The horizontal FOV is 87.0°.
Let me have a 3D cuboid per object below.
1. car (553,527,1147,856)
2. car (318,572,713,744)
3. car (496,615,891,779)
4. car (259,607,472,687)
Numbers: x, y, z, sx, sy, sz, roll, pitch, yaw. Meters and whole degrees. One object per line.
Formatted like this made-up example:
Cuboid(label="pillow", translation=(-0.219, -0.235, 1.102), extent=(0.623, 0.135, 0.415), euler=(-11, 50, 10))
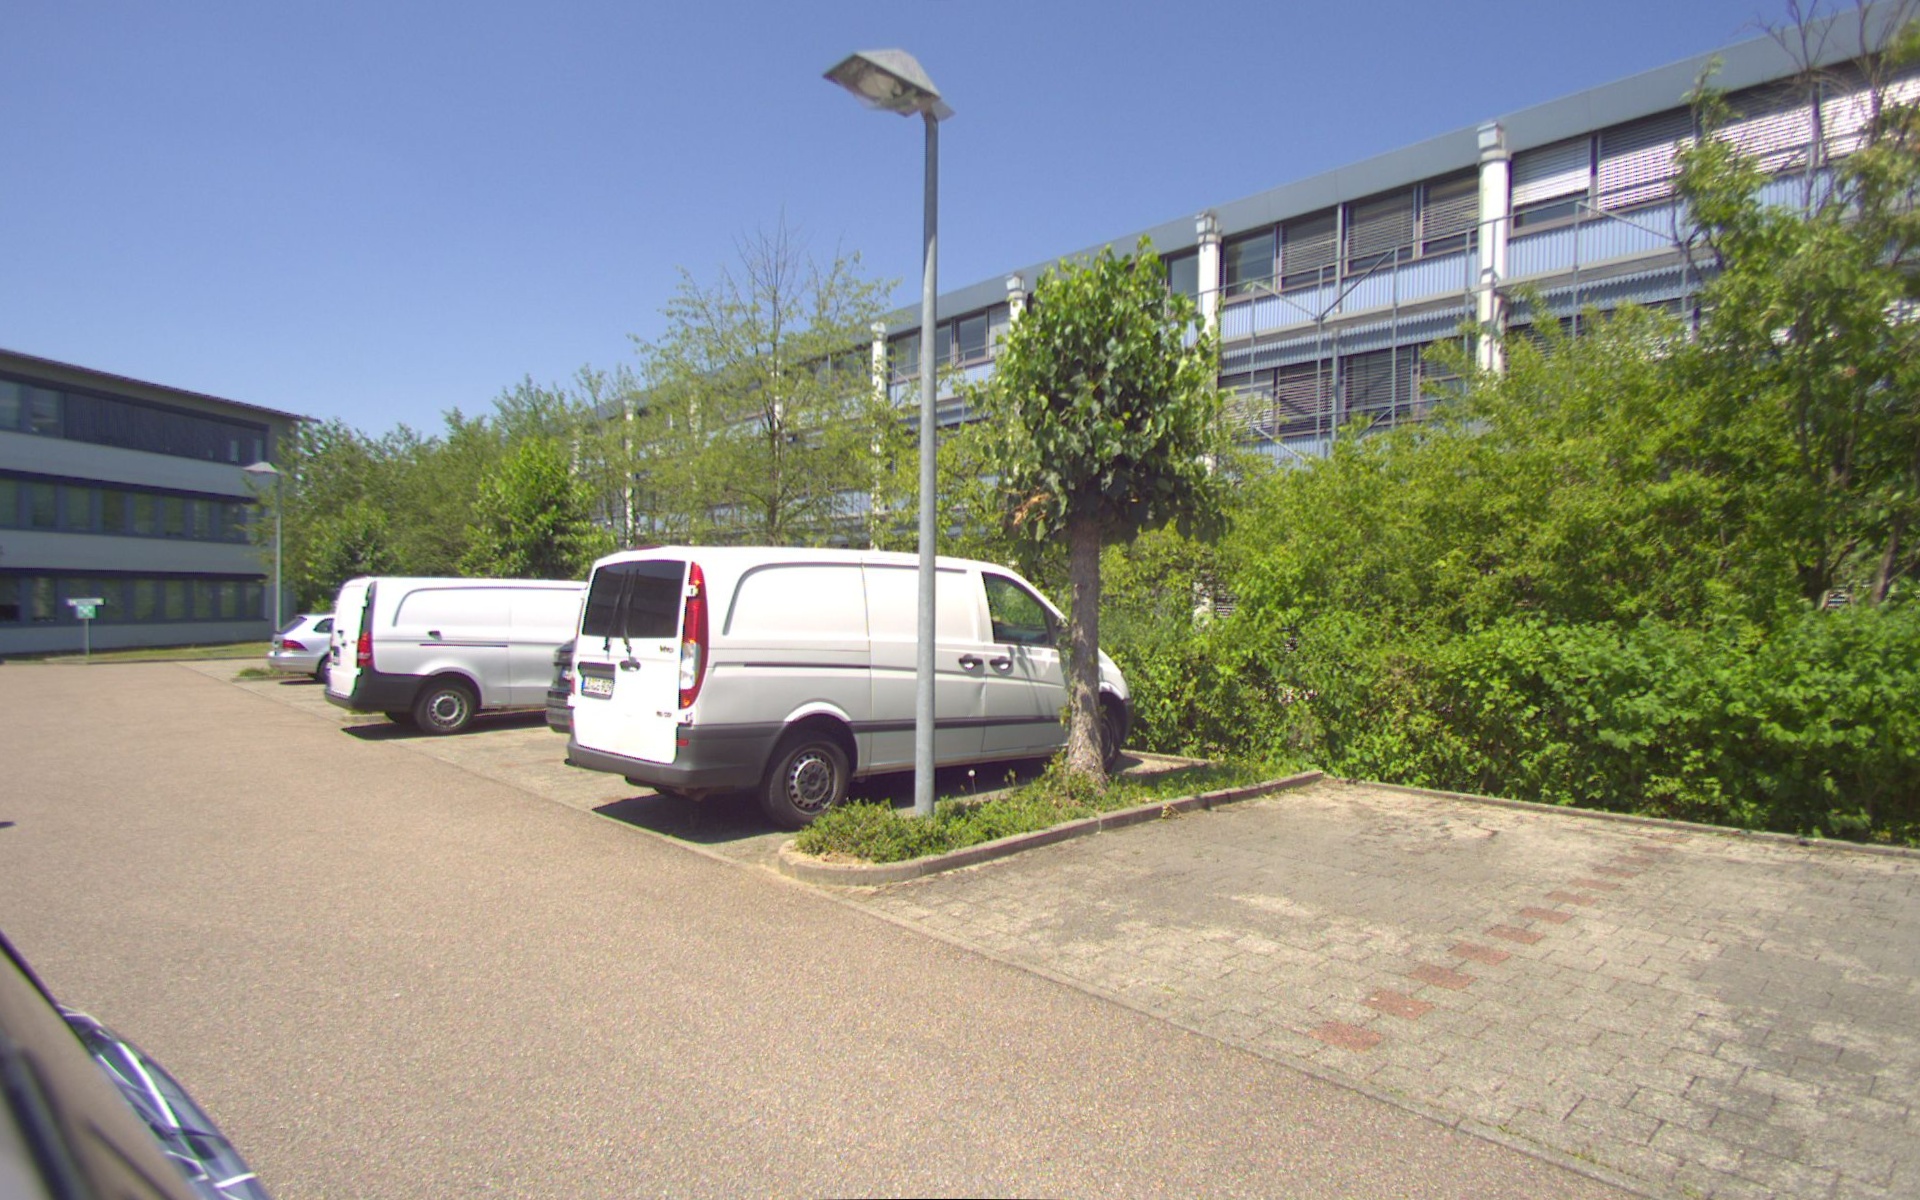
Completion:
Cuboid(label="car", translation=(-0.610, 0.549, 8.201), extent=(4.665, 1.920, 1.831), euler=(0, -1, -44))
Cuboid(label="car", translation=(-5.718, 0.660, 13.424), extent=(4.453, 1.896, 1.830), euler=(0, -1, -44))
Cuboid(label="car", translation=(-2.685, 0.875, 10.760), extent=(3.794, 1.404, 1.578), euler=(0, -1, -44))
Cuboid(label="car", translation=(-12.798, 0.948, 21.921), extent=(3.709, 1.569, 1.662), euler=(0, -1, -44))
